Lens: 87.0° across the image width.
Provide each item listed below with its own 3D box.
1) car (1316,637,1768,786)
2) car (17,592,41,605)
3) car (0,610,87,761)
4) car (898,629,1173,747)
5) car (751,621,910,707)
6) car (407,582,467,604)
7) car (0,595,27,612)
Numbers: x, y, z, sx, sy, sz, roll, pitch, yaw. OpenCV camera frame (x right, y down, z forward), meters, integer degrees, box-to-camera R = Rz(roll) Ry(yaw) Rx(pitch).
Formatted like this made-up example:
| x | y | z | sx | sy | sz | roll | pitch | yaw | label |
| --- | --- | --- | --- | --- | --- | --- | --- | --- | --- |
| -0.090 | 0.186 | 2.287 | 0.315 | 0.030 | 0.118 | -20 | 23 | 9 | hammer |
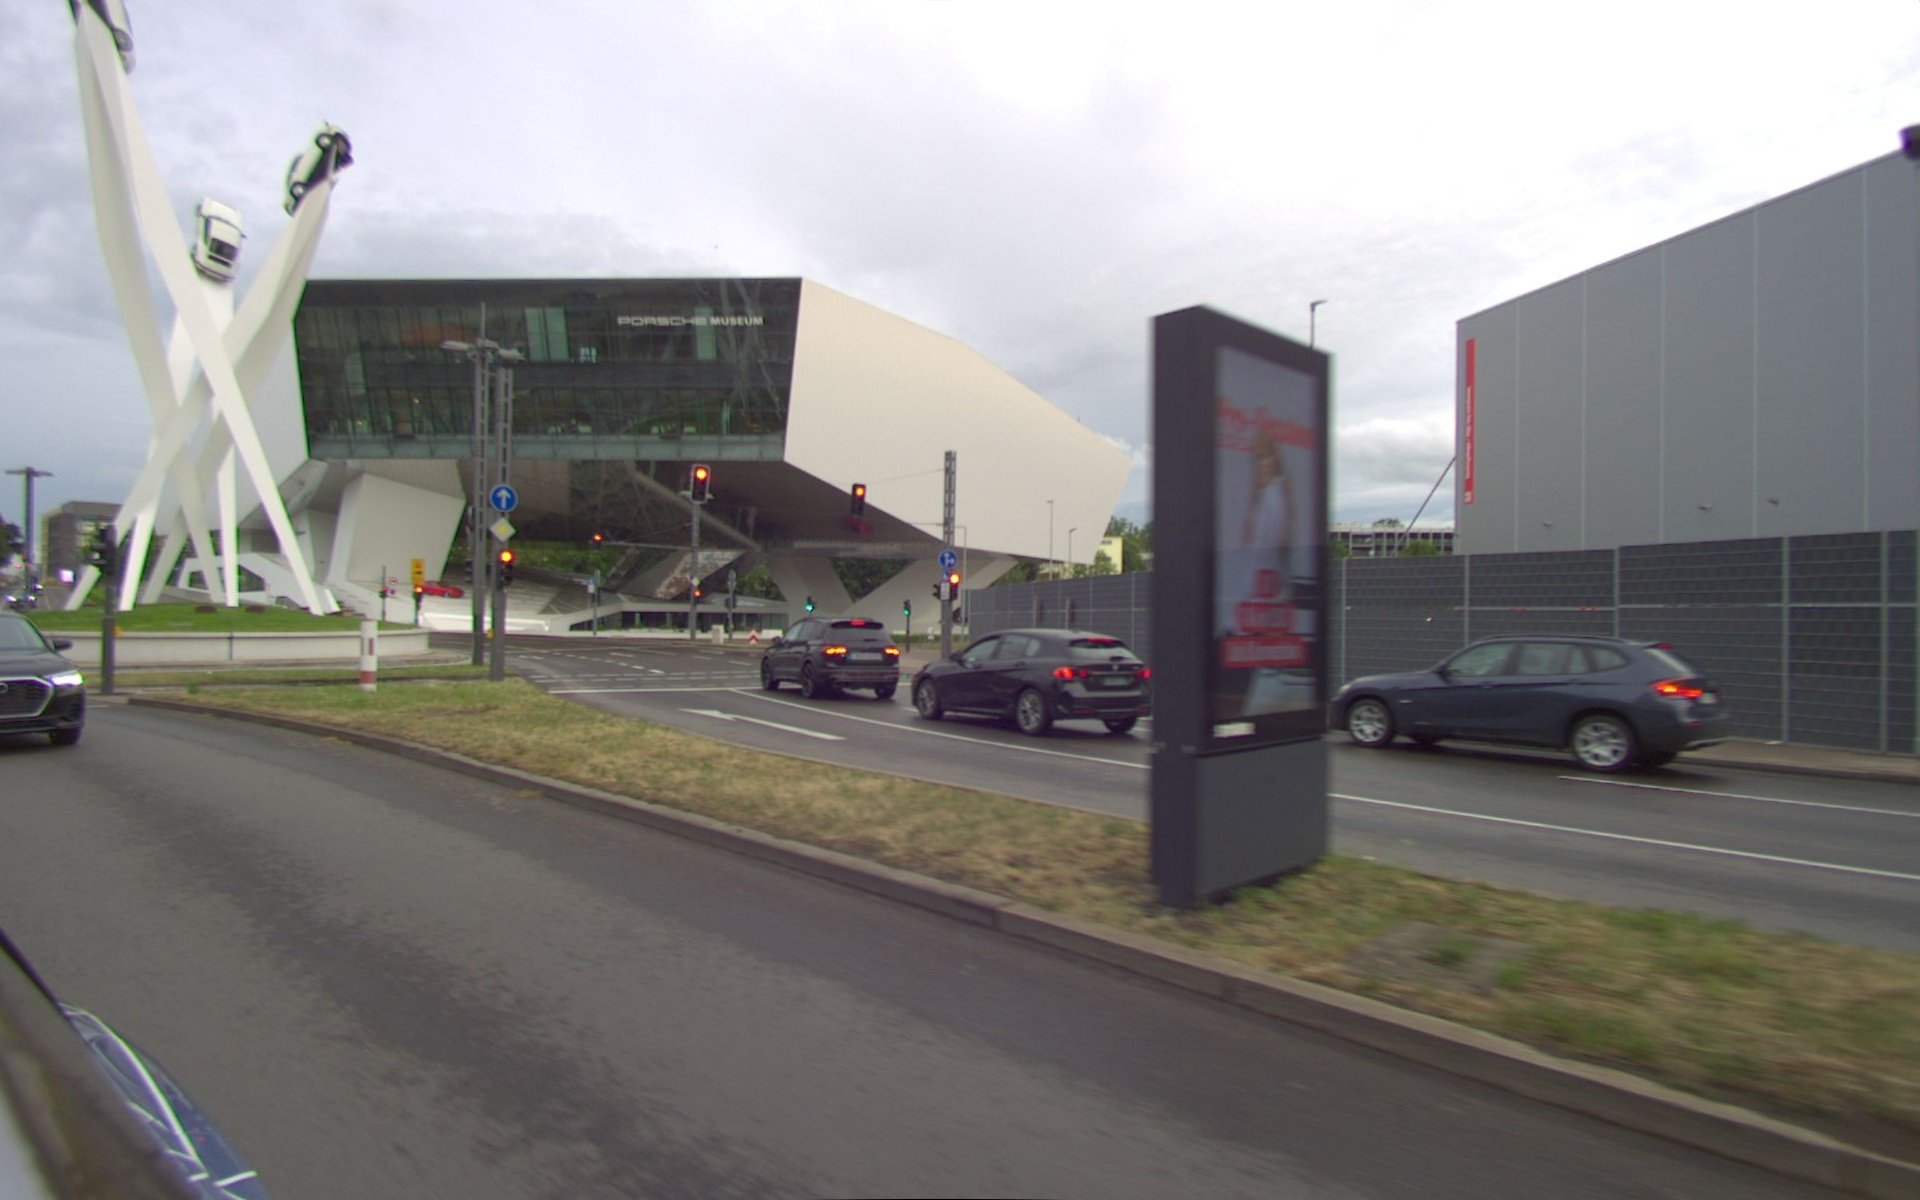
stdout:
| x | y | z | sx | sy | sz | roll | pitch | yaw | label |
| --- | --- | --- | --- | --- | --- | --- | --- | --- | --- |
| 6.979 | 1.231 | 12.621 | 1.760 | 1.465 | 4.569 | 3 | -3 | -39 | car |
| -111.509 | -0.158 | 121.157 | 4.302 | 1.449 | 1.792 | -1 | -2 | 43 | car |
| -11.661 | 0.902 | 11.546 | 4.388 | 1.529 | 1.736 | -1 | -1 | 37 | car |
| 0.946 | 1.174 | 15.060 | 1.758 | 1.451 | 4.407 | 1 | -2 | -33 | car |
| -2.867 | 1.263 | 21.471 | 1.758 | 1.600 | 4.580 | 1 | -2 | -29 | car |
| -46.502 | -0.610 | 89.976 | 4.191 | 1.394 | 1.999 | 8 | 0 | 2 | car |
| -85.172 | 0.350 | 90.819 | 4.302 | 1.449 | 1.792 | -1 | -2 | 43 | car |
